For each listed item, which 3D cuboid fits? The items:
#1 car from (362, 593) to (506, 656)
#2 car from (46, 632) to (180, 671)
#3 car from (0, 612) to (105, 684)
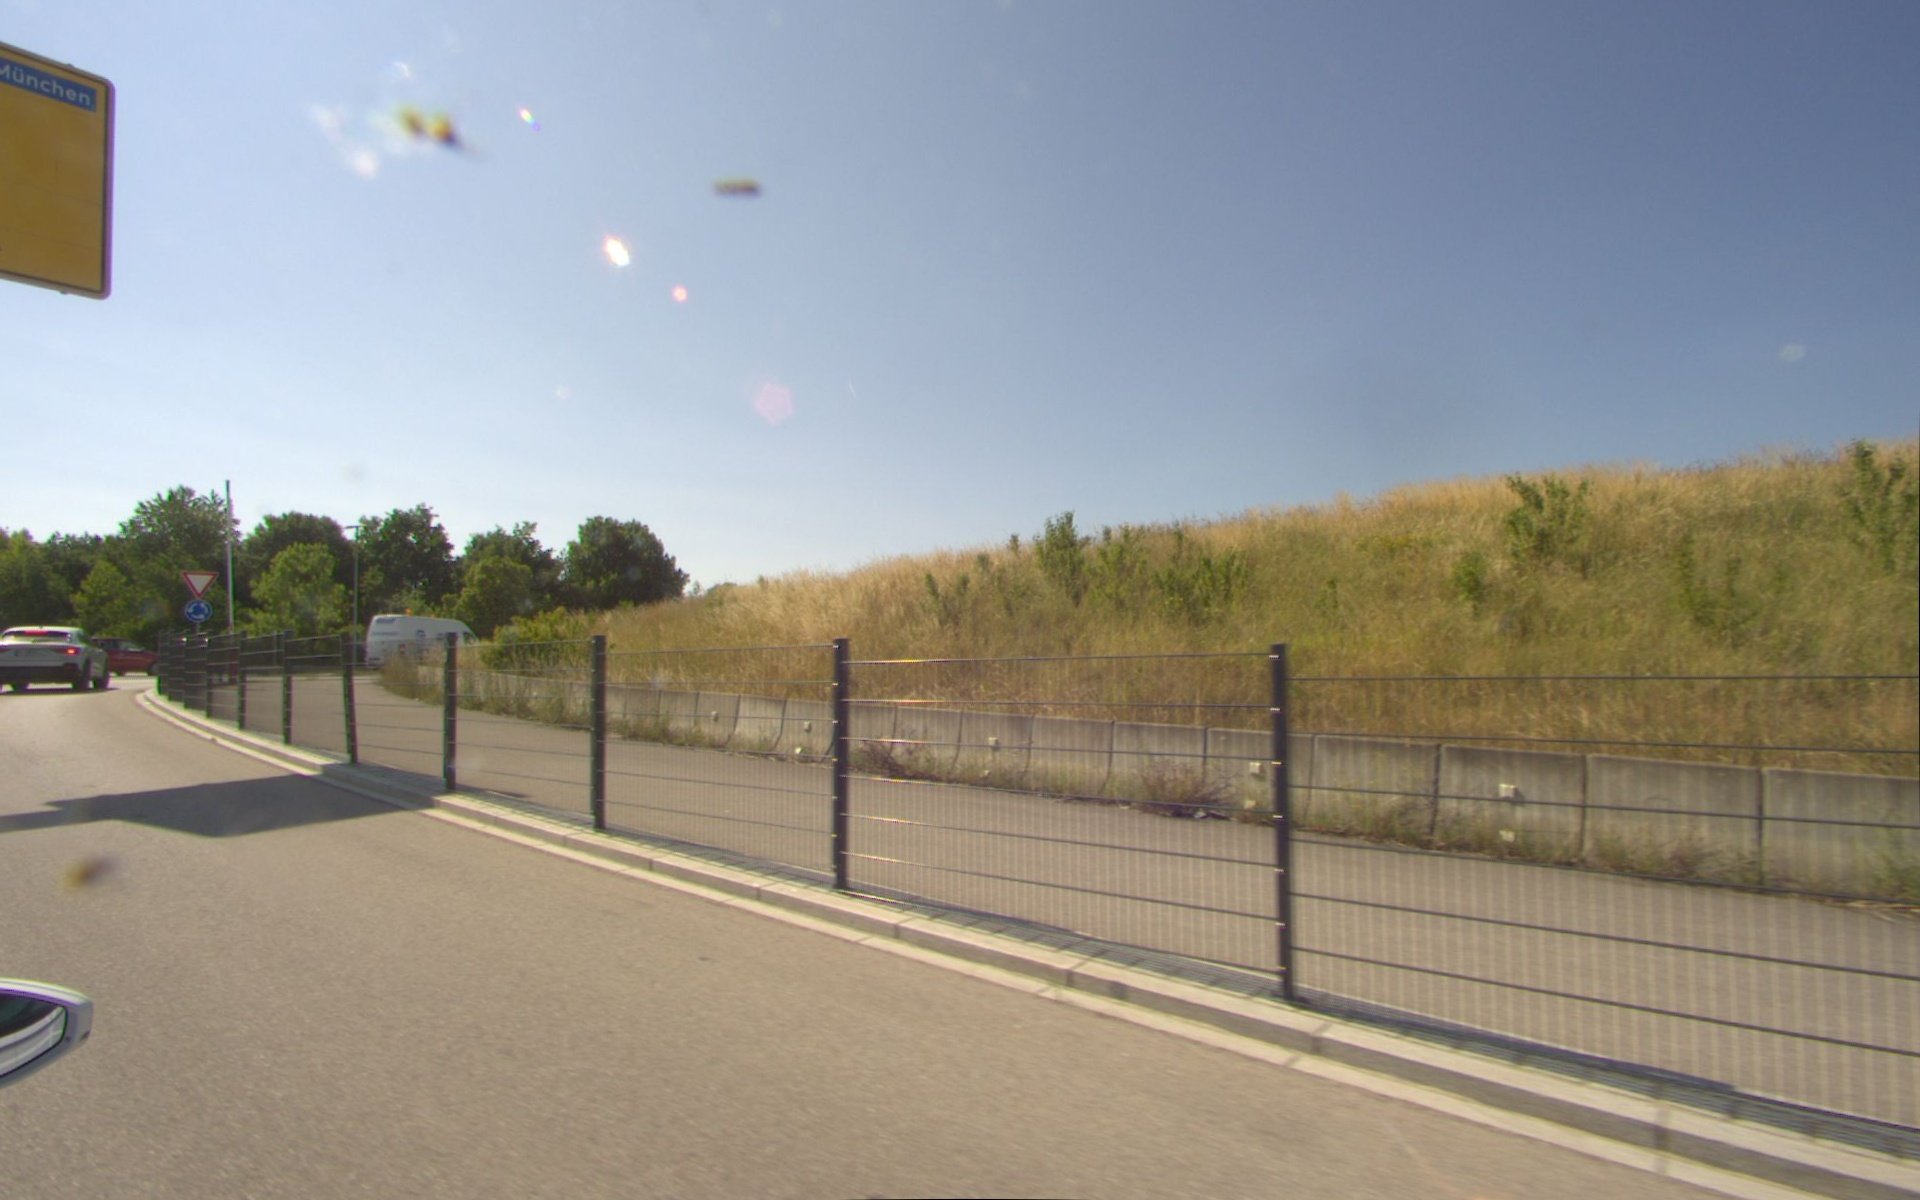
[{"bbox_3d":[-23.646,1.218,45.412,2.052,2.585,6.192,0,-4,15],"label":"car"},{"bbox_3d":[-32.814,2.008,38.934,1.595,1.422,3.820,0,-3,8],"label":"car"},{"bbox_3d":[-22.531,1.191,24.748,1.826,1.616,4.294,2,-3,-37],"label":"car"}]
